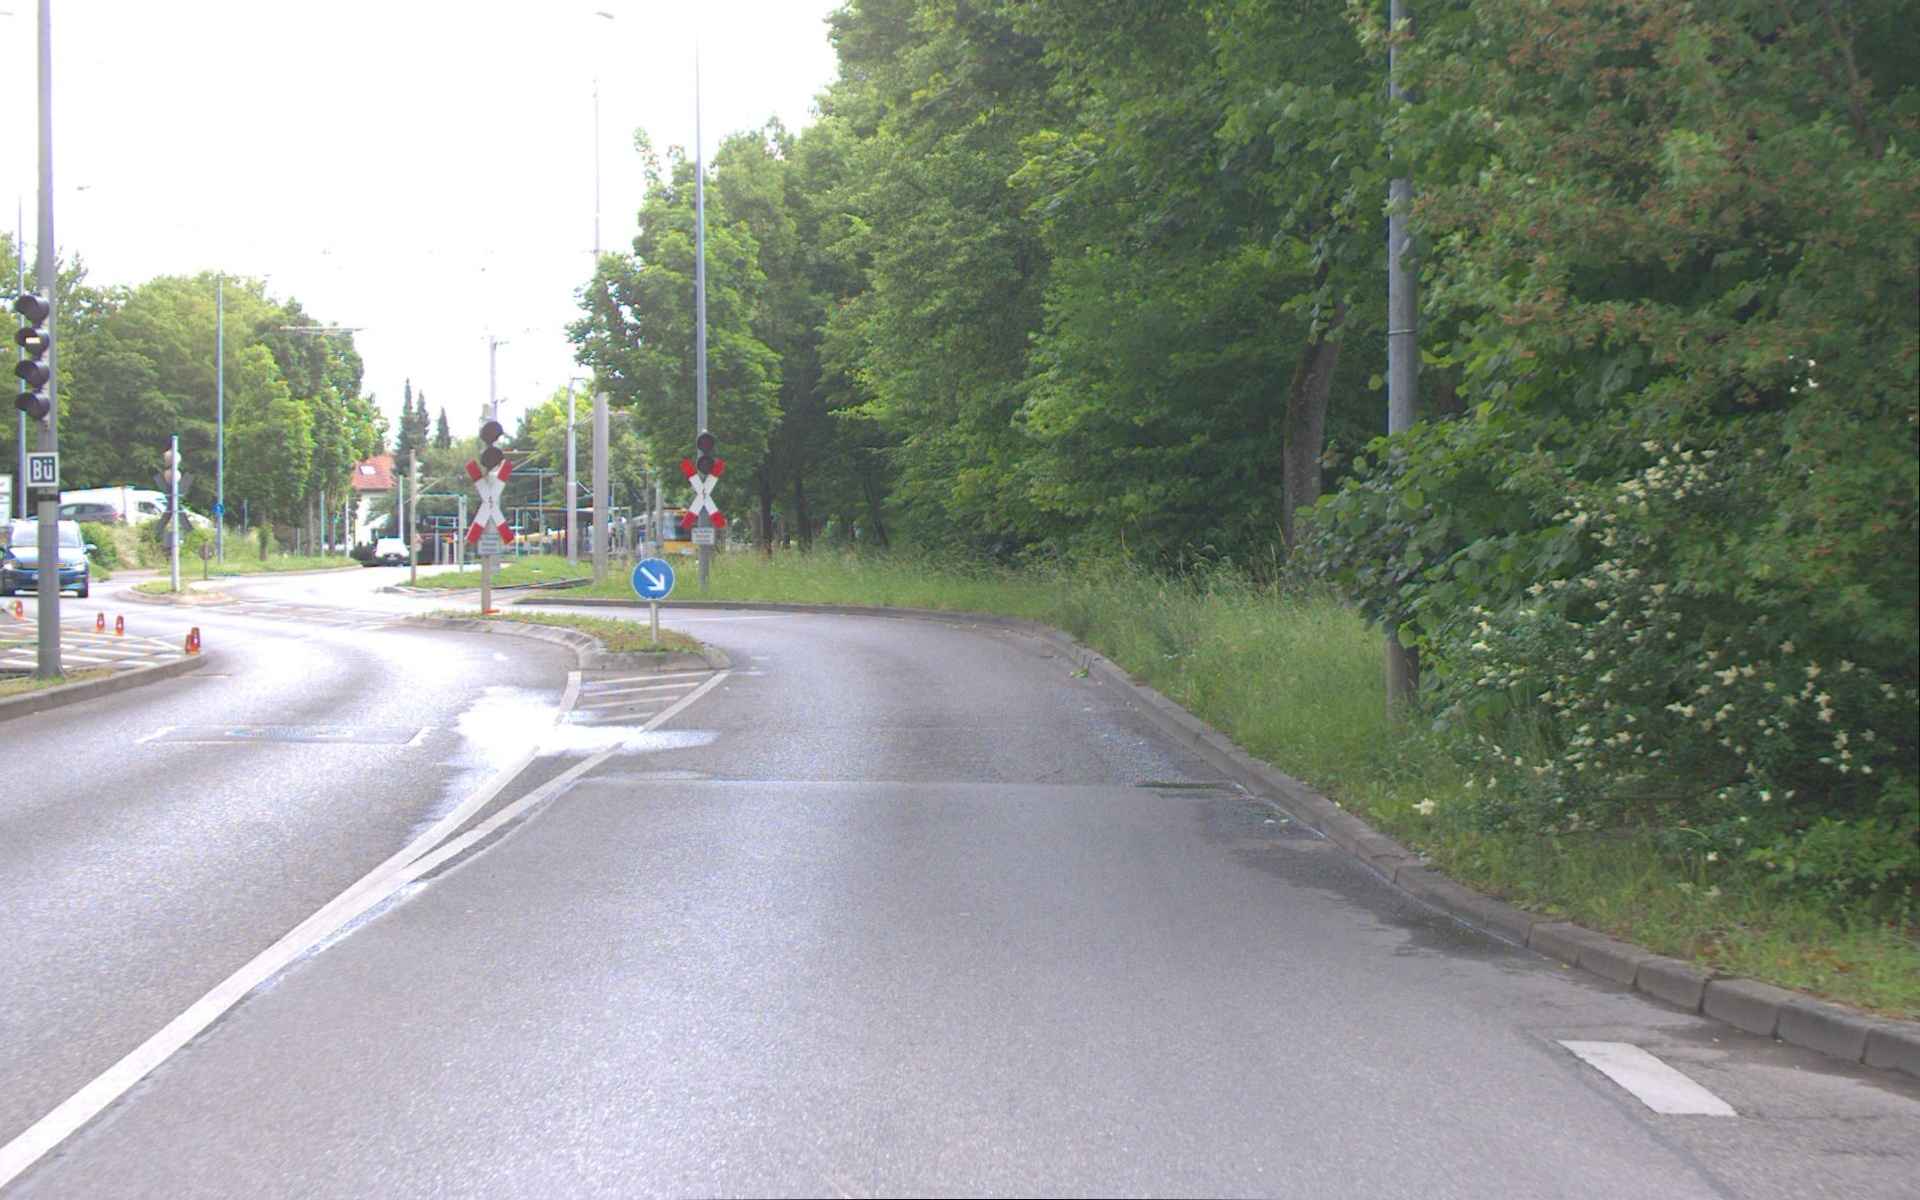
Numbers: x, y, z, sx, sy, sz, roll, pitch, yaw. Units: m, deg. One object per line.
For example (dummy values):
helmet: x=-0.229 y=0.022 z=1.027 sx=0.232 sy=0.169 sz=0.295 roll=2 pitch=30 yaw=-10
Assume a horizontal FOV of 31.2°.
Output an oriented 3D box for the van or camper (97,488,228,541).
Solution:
van or camper: x=-34.714 y=-3.721 z=149.729 sx=5.332 sy=2.195 sz=2.000 roll=1 pitch=1 yaw=-5

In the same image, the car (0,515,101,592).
car: x=-19.279 y=-1.002 z=72.786 sx=1.867 sy=1.515 sz=4.240 roll=1 pitch=2 yaw=-11

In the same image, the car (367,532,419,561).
car: x=-29.685 y=-2.807 z=180.043 sx=1.993 sy=1.433 sz=4.426 roll=-1 pitch=1 yaw=-1

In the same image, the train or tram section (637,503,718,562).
train or tram section: x=-17.515 y=-4.139 z=210.829 sx=3.007 sy=3.299 sz=34.720 roll=1 pitch=1 yaw=-8

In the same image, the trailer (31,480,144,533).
trailer: x=-34.300 y=-3.675 z=135.202 sx=3.986 sy=2.007 sz=1.908 roll=1 pitch=1 yaw=-2
